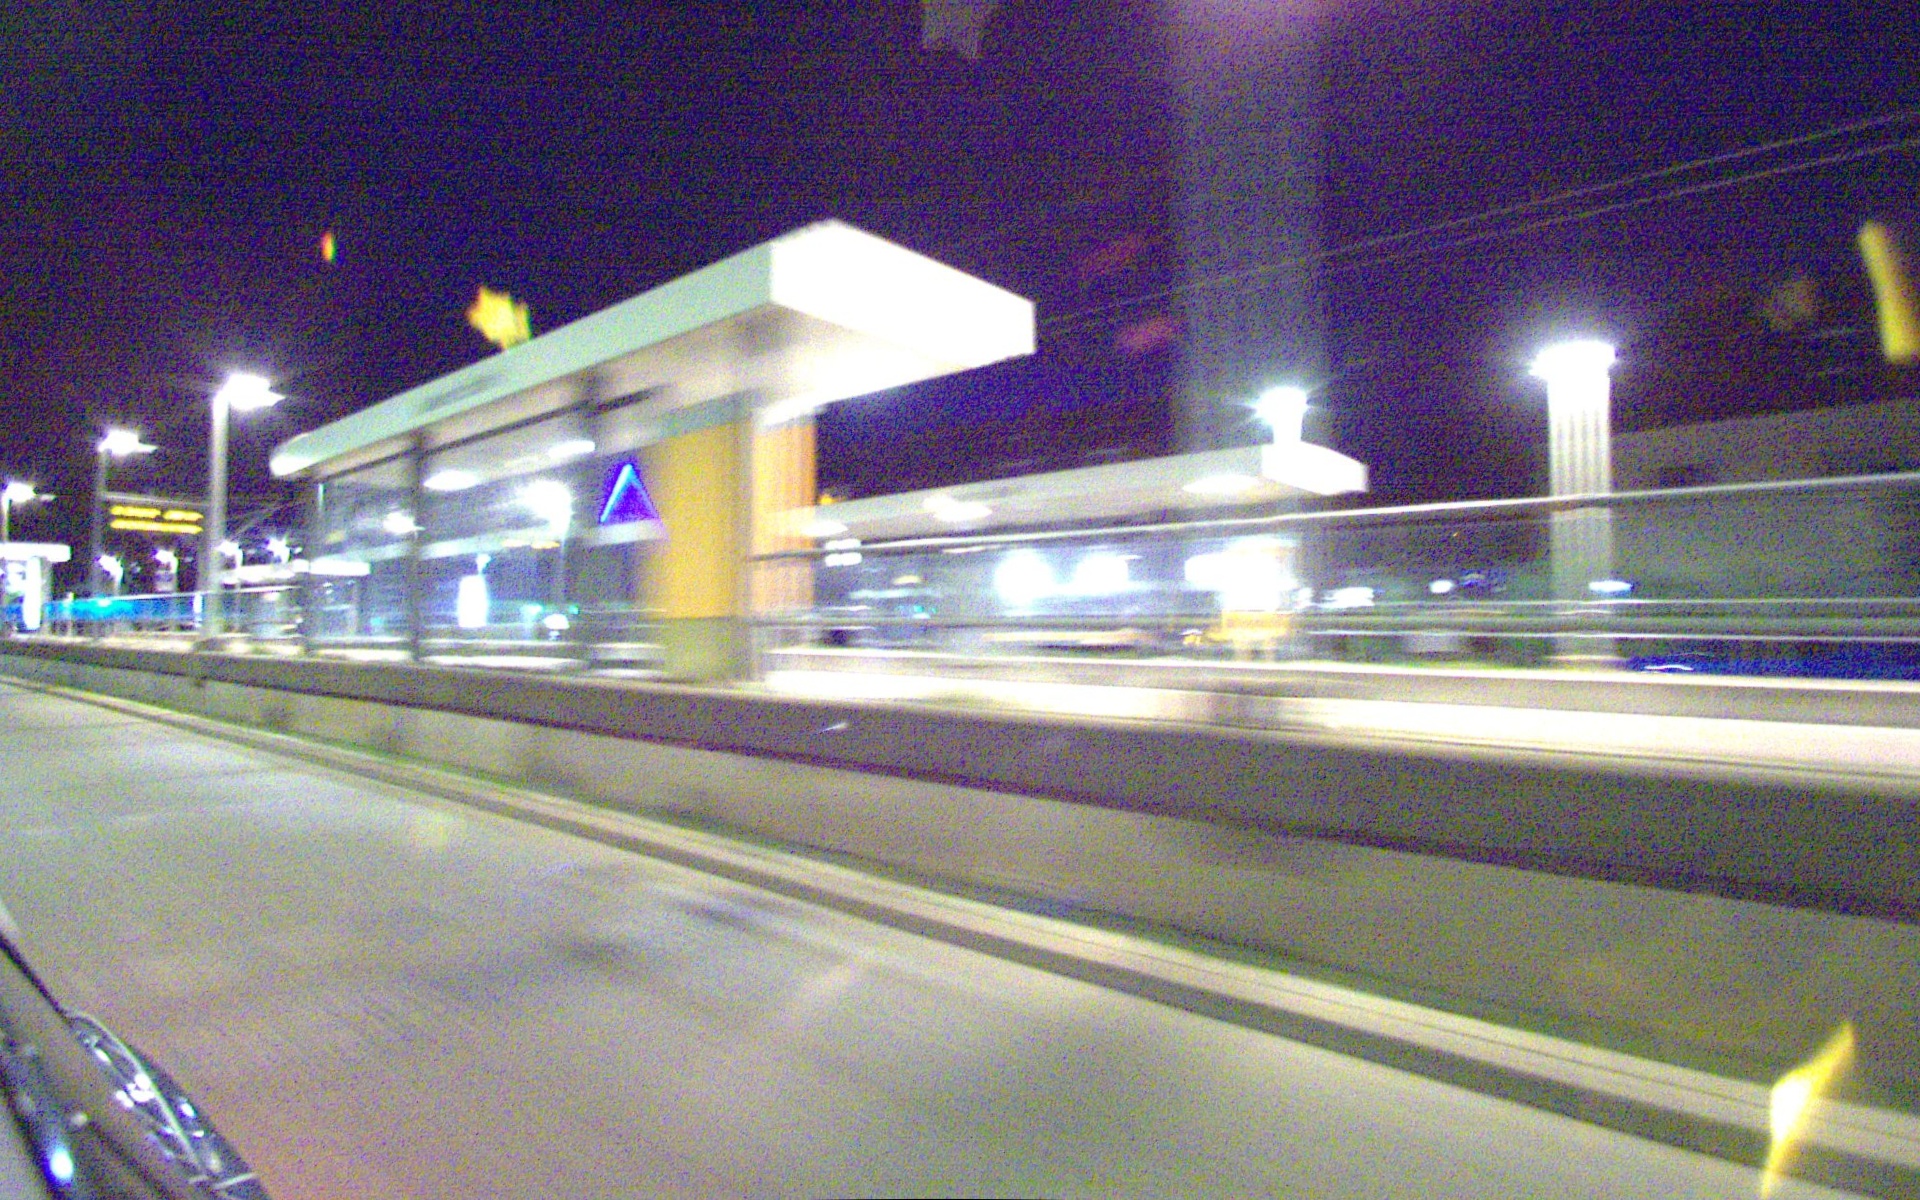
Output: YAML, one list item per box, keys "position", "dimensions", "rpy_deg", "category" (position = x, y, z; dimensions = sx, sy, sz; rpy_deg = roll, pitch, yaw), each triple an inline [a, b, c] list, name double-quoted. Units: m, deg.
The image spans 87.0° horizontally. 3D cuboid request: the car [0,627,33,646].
- position: [-75.903, 2.906, 80.854]
  dimensions: [4.084, 1.516, 1.850]
  rpy_deg: [-1, -3, 35]
  category: "car"
